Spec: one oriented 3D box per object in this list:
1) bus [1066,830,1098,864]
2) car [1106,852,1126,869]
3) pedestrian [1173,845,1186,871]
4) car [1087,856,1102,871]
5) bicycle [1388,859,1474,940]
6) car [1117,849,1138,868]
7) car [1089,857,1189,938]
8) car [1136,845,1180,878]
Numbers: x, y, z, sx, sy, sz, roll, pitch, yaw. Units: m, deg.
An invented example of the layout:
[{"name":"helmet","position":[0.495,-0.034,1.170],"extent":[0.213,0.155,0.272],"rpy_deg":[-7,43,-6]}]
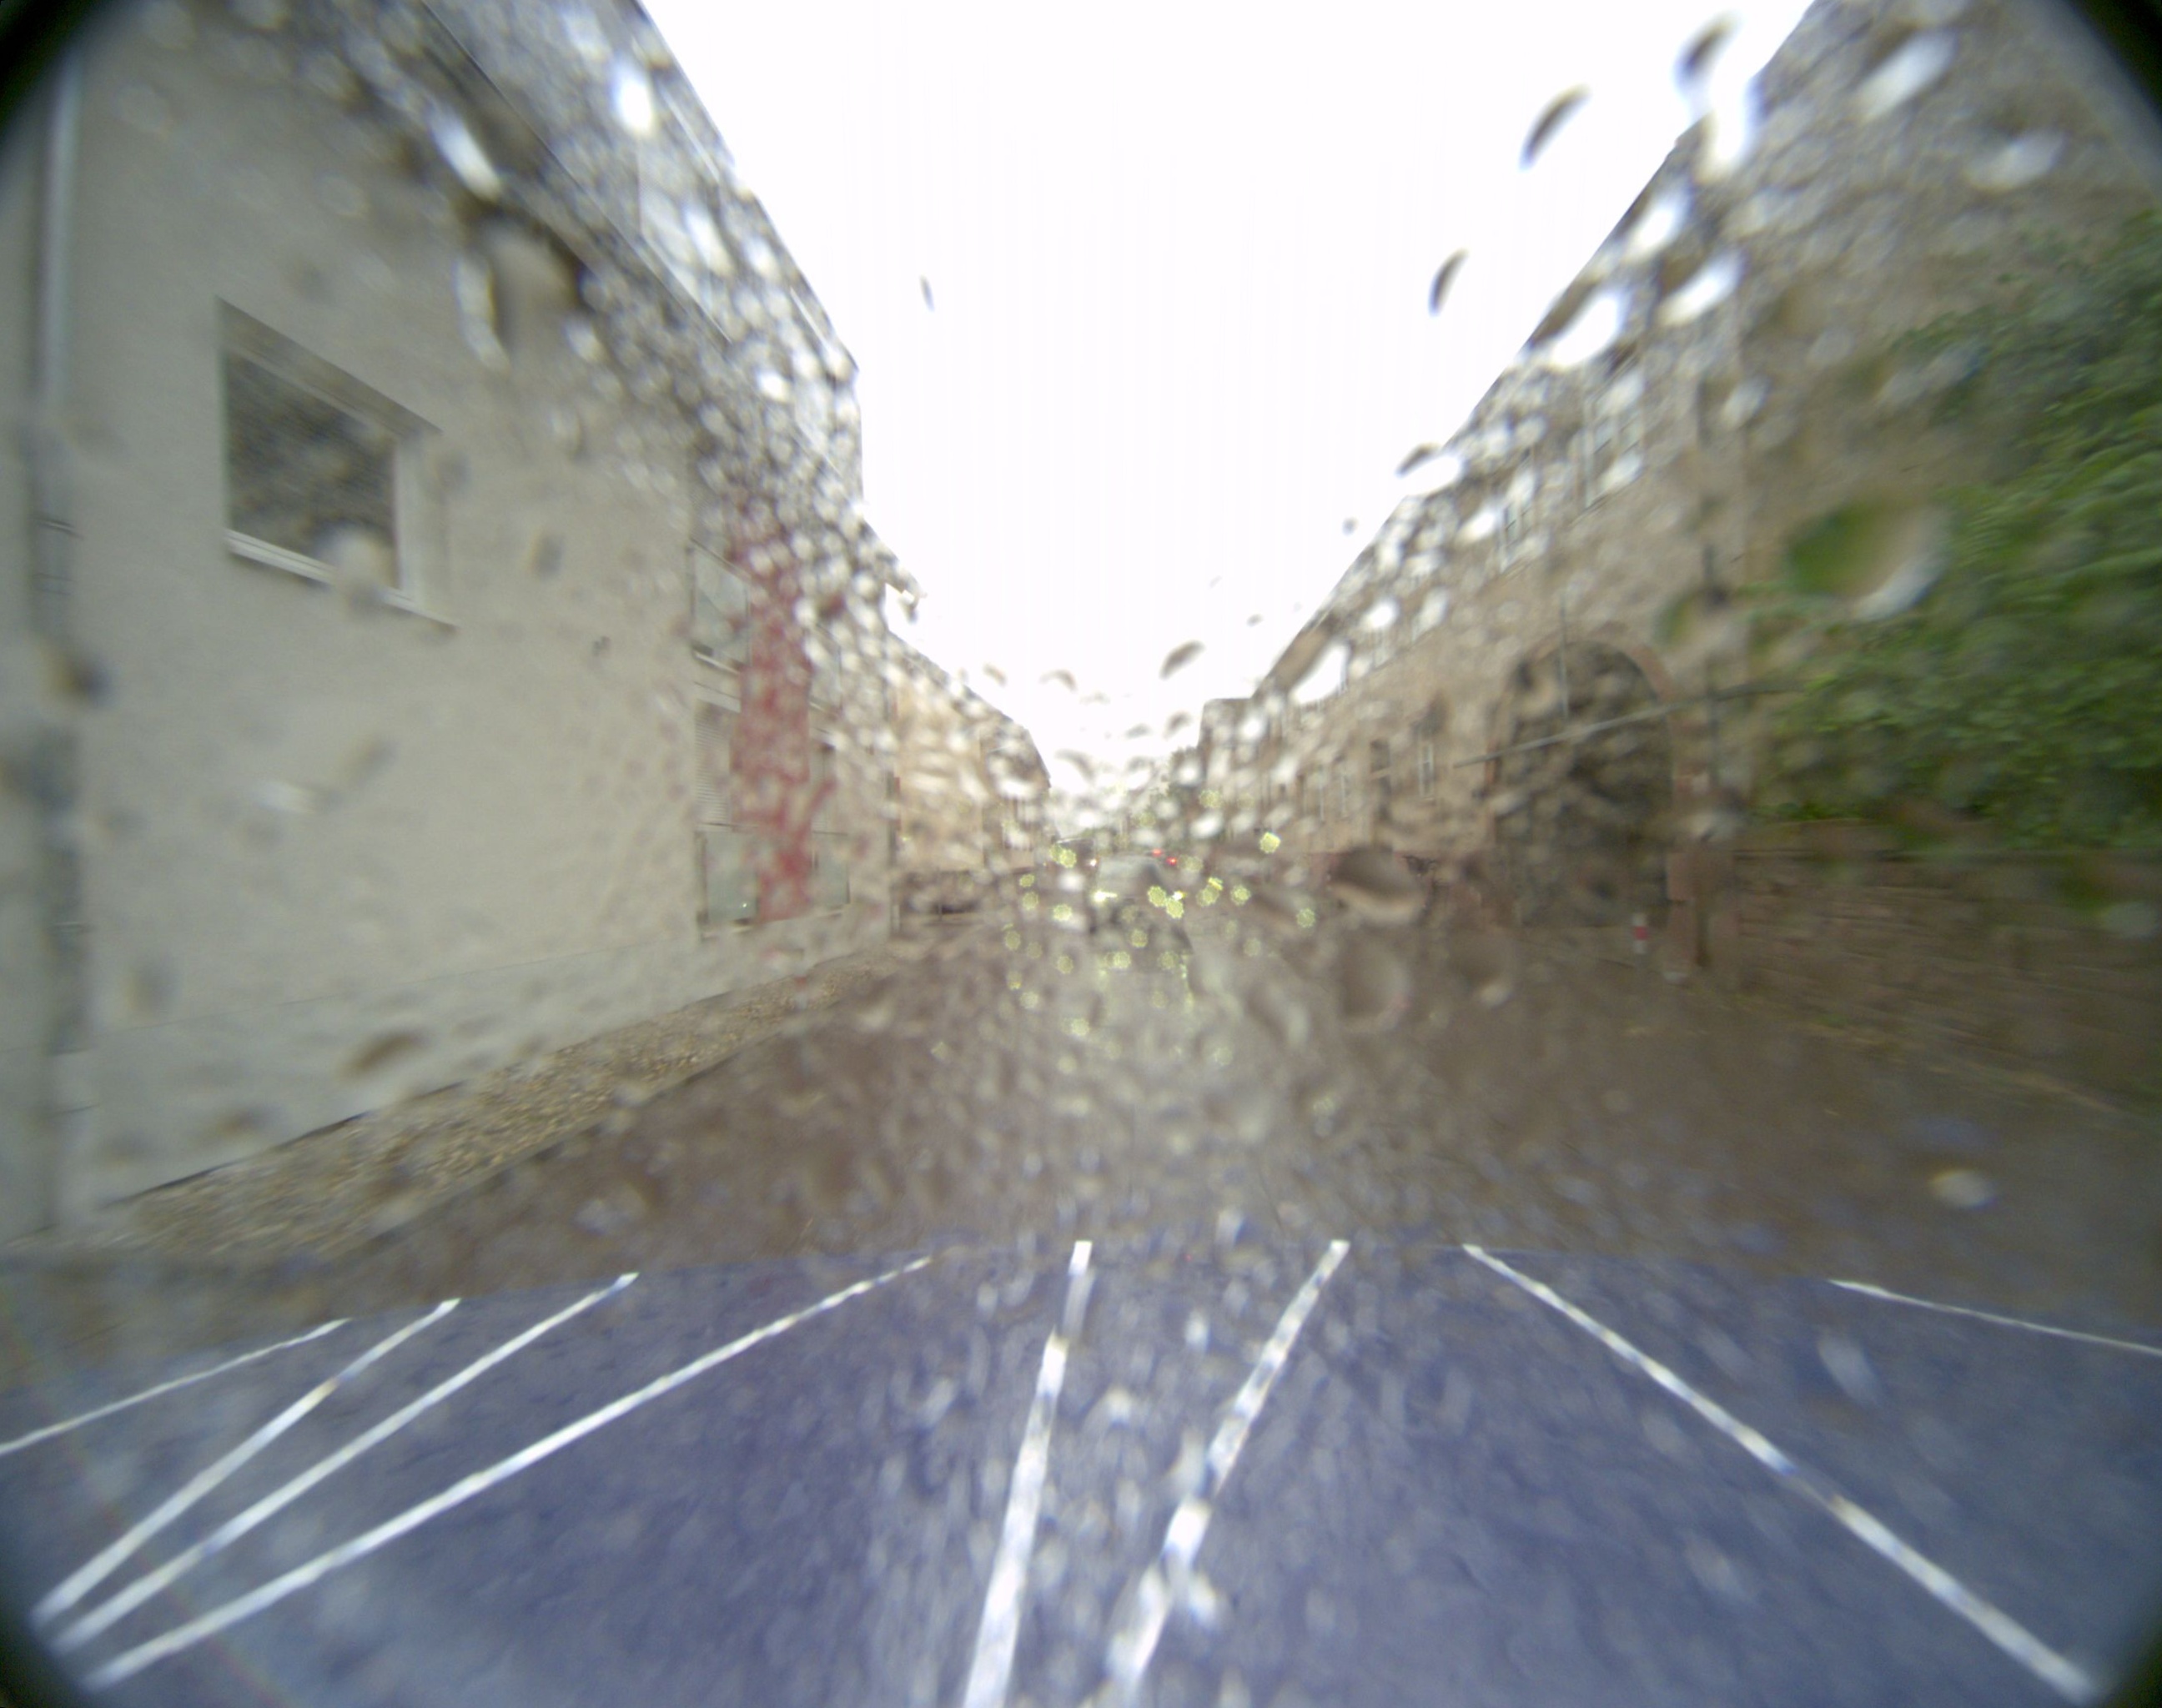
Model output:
[{"name":"bus","position":[0.021,-0.733,78.352],"extent":[2.668,3.213,12.187],"rpy_deg":[-1,1,-3]},{"name":"car","position":[3.324,0.561,72.362],"extent":[1.700,1.500,4.341],"rpy_deg":[-1,1,0]},{"name":"pedestrian","position":[5.938,0.226,45.853],"extent":[0.573,1.529,0.833],"rpy_deg":[-4,1,-2]},{"name":"car","position":[1.653,1.098,90.064],"extent":[1.626,1.502,3.793],"rpy_deg":[-5,0,2]},{"name":"bicycle","position":[5.600,0.679,12.259],"extent":[0.483,1.171,1.874],"rpy_deg":[-4,0,1]},{"name":"car","position":[3.917,0.390,64.026],"extent":[1.608,1.504,3.688],"rpy_deg":[-2,0,1]},{"name":"car","position":[1.064,0.779,15.495],"extent":[1.739,1.363,4.102],"rpy_deg":[-1,0,1]},{"name":"car","position":[4.126,0.373,41.370],"extent":[1.837,1.547,4.238],"rpy_deg":[-4,1,0]}]
